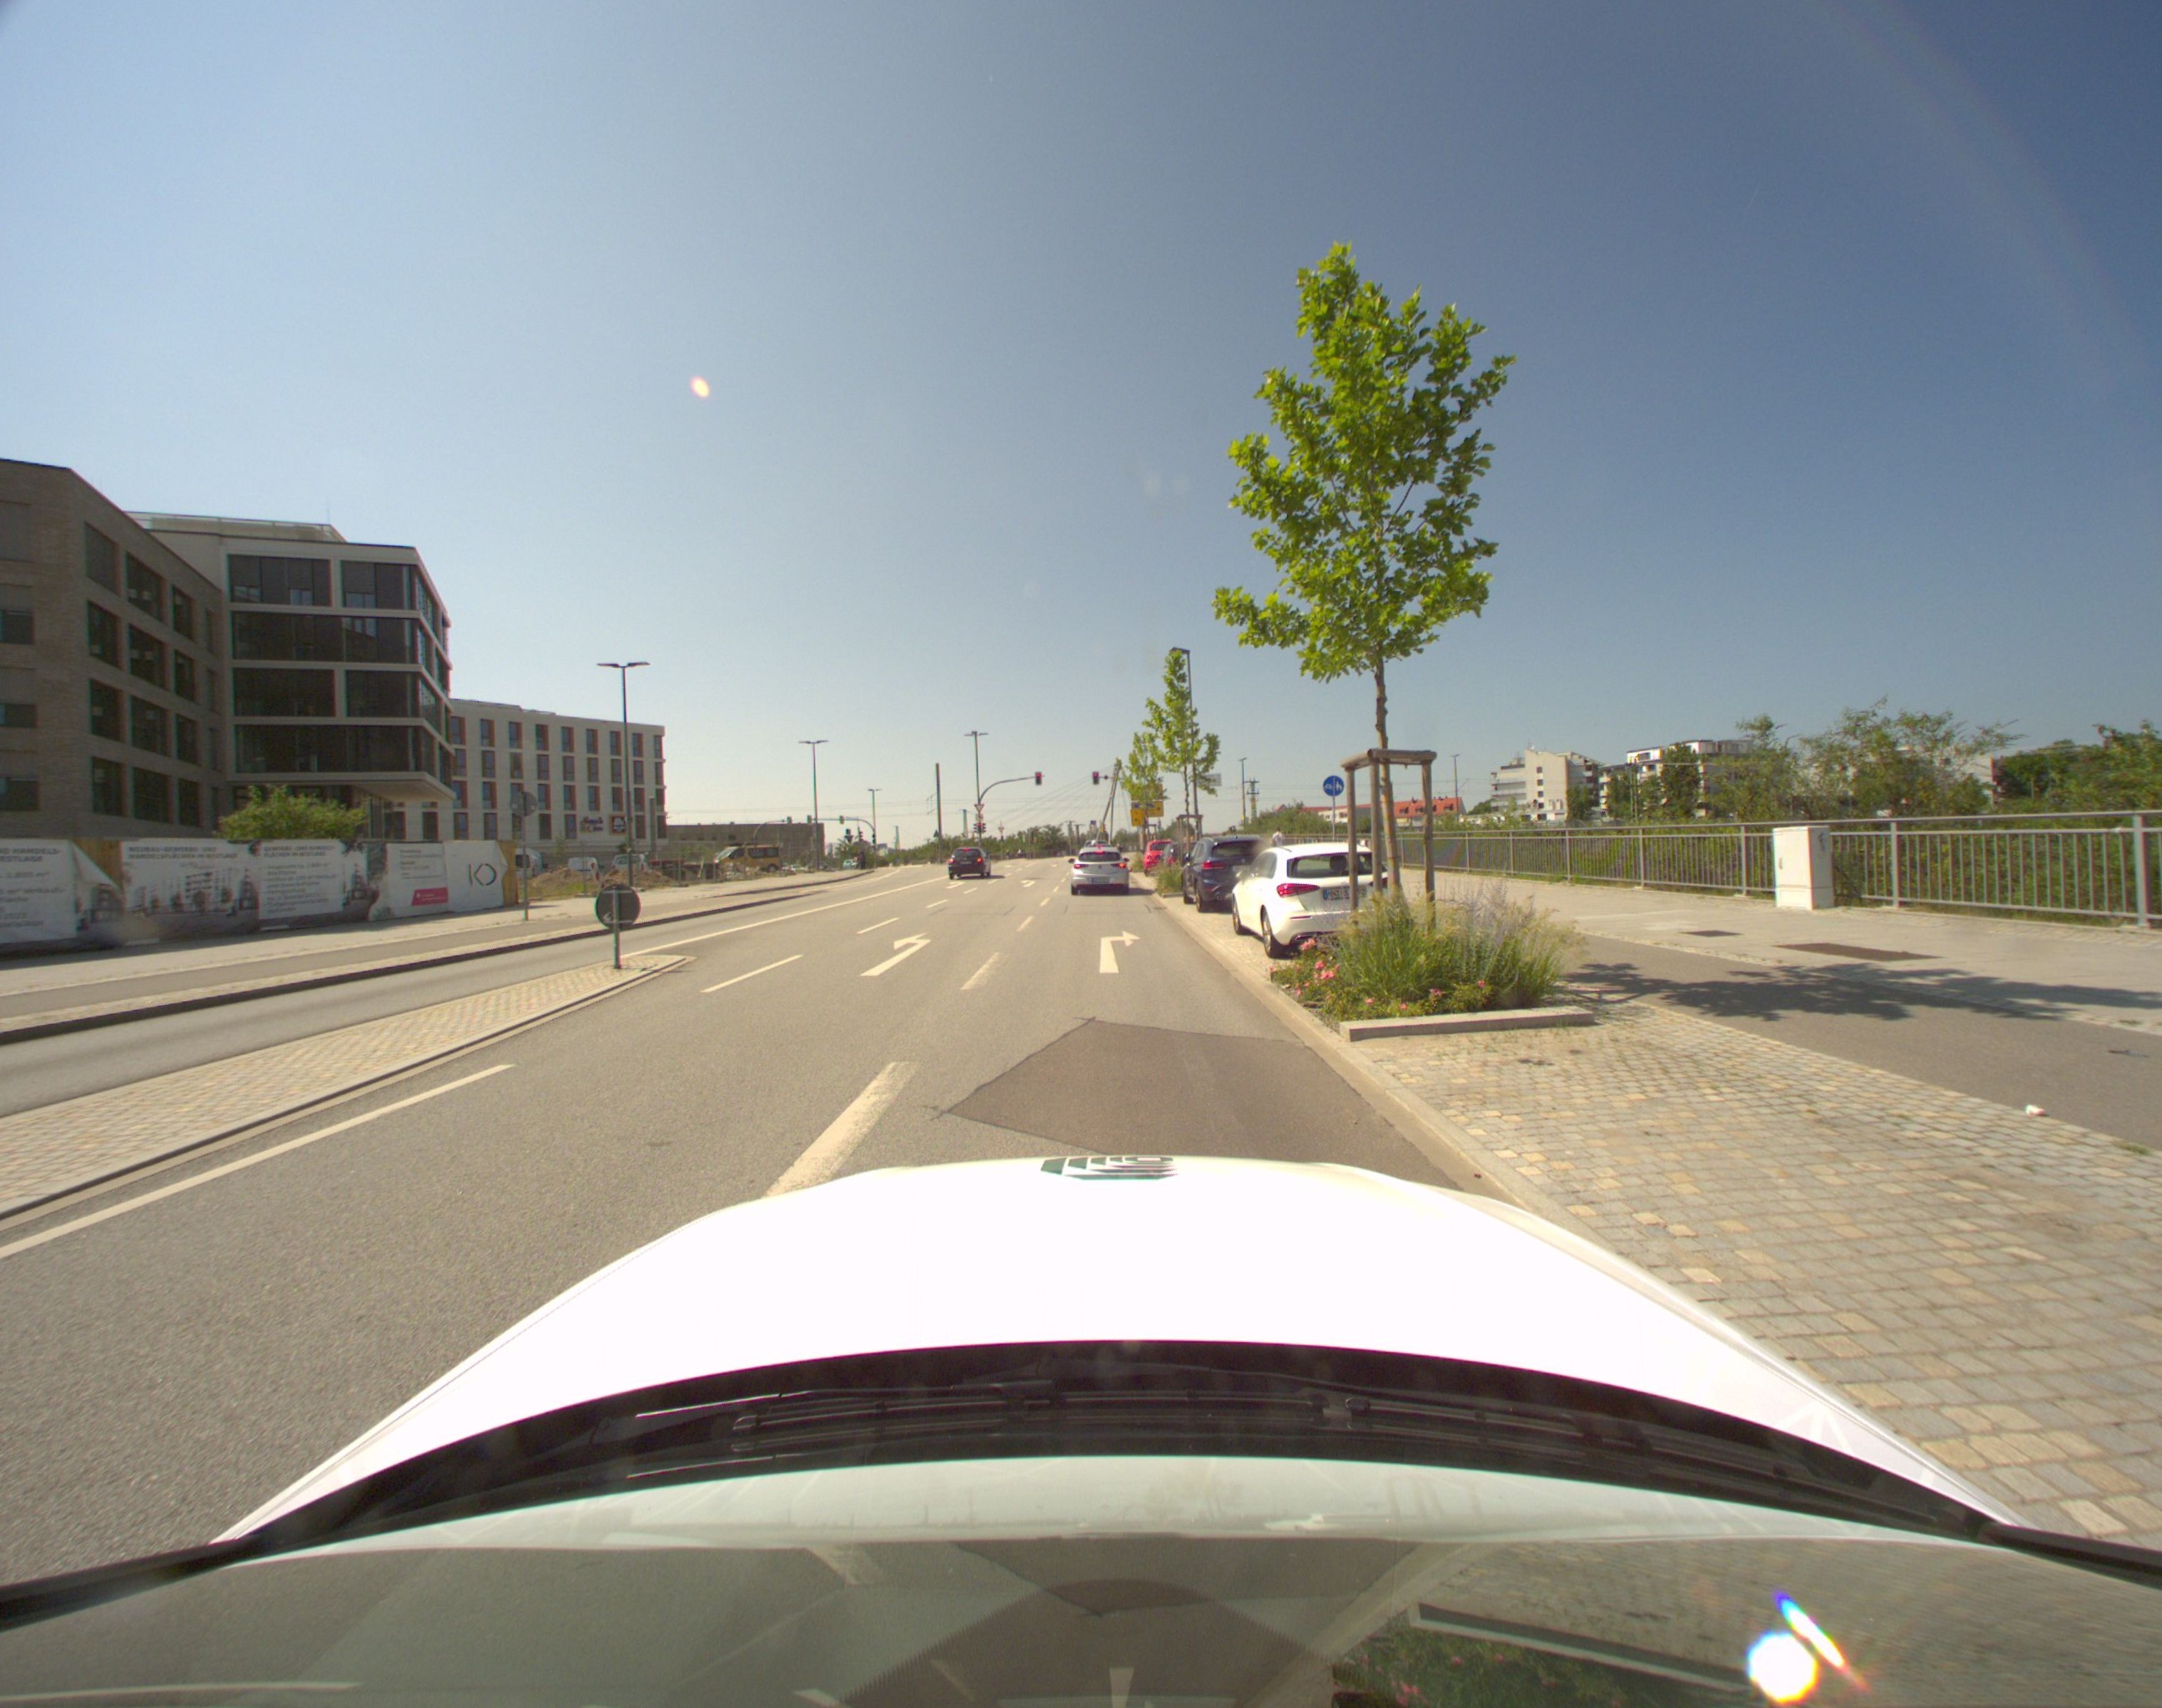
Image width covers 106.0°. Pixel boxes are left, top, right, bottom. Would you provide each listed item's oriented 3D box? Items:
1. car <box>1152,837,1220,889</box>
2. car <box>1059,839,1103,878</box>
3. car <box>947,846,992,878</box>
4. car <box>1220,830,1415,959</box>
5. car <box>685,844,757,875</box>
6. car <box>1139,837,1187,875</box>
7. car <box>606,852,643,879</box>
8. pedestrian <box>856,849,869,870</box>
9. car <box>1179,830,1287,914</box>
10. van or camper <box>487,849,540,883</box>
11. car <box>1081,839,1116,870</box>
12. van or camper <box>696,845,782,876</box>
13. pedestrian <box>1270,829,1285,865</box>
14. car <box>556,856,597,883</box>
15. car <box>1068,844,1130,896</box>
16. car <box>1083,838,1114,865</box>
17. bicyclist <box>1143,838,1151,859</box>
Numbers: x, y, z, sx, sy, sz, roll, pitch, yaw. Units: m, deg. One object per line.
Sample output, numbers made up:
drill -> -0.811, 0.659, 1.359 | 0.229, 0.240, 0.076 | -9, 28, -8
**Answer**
car -> 3.548, 0.287, 28.122 | 1.772, 1.503, 4.001 | -6, 0, 1
car -> 0.036, 0.174, 36.032 | 1.772, 1.568, 4.001 | -2, 1, 1
car -> -5.144, 0.344, 38.001 | 1.615, 1.416, 3.725 | -1, 0, -1
car -> 3.230, 0.483, 11.993 | 1.690, 1.475, 4.207 | -3, 0, 2
car -> -24.630, 0.332, 55.833 | 1.974, 2.013, 4.025 | -1, 0, 40
car -> 3.618, 0.089, 36.499 | 1.772, 1.503, 4.001 | -3, 0, 1
car -> -30.693, 0.743, 54.804 | 2.038, 1.672, 4.557 | -1, 0, -29
pedestrian -> -17.351, 0.428, 64.681 | 0.843, 1.646, 0.826 | -1, 0, -4
car -> 3.337, 0.357, 18.504 | 1.815, 1.616, 3.613 | -4, 1, 2
van or camper -> -35.918, 0.784, 51.663 | 2.253, 2.014, 4.557 | 2, -2, -29
car -> 0.941, -0.004, 44.229 | 1.772, 1.568, 4.001 | -2, 1, 1
van or camper -> -22.037, 0.461, 52.583 | 1.975, 1.897, 4.745 | -2, -2, 44
pedestrian -> 8.736, -0.315, 36.246 | 0.531, 1.575, 0.524 | -1, -2, 1
car -> -33.370, 0.980, 53.960 | 2.038, 1.672, 4.557 | -1, 0, -29
car -> 0.580, 0.450, 26.060 | 1.772, 1.442, 4.001 | -2, 1, 1
car -> 1.086, -0.198, 50.615 | 1.772, 1.568, 4.001 | -2, 1, 1
bicyclist -> 5.225, -0.464, 64.242 | 0.591, 1.644, 0.312 | 0, -2, -5
